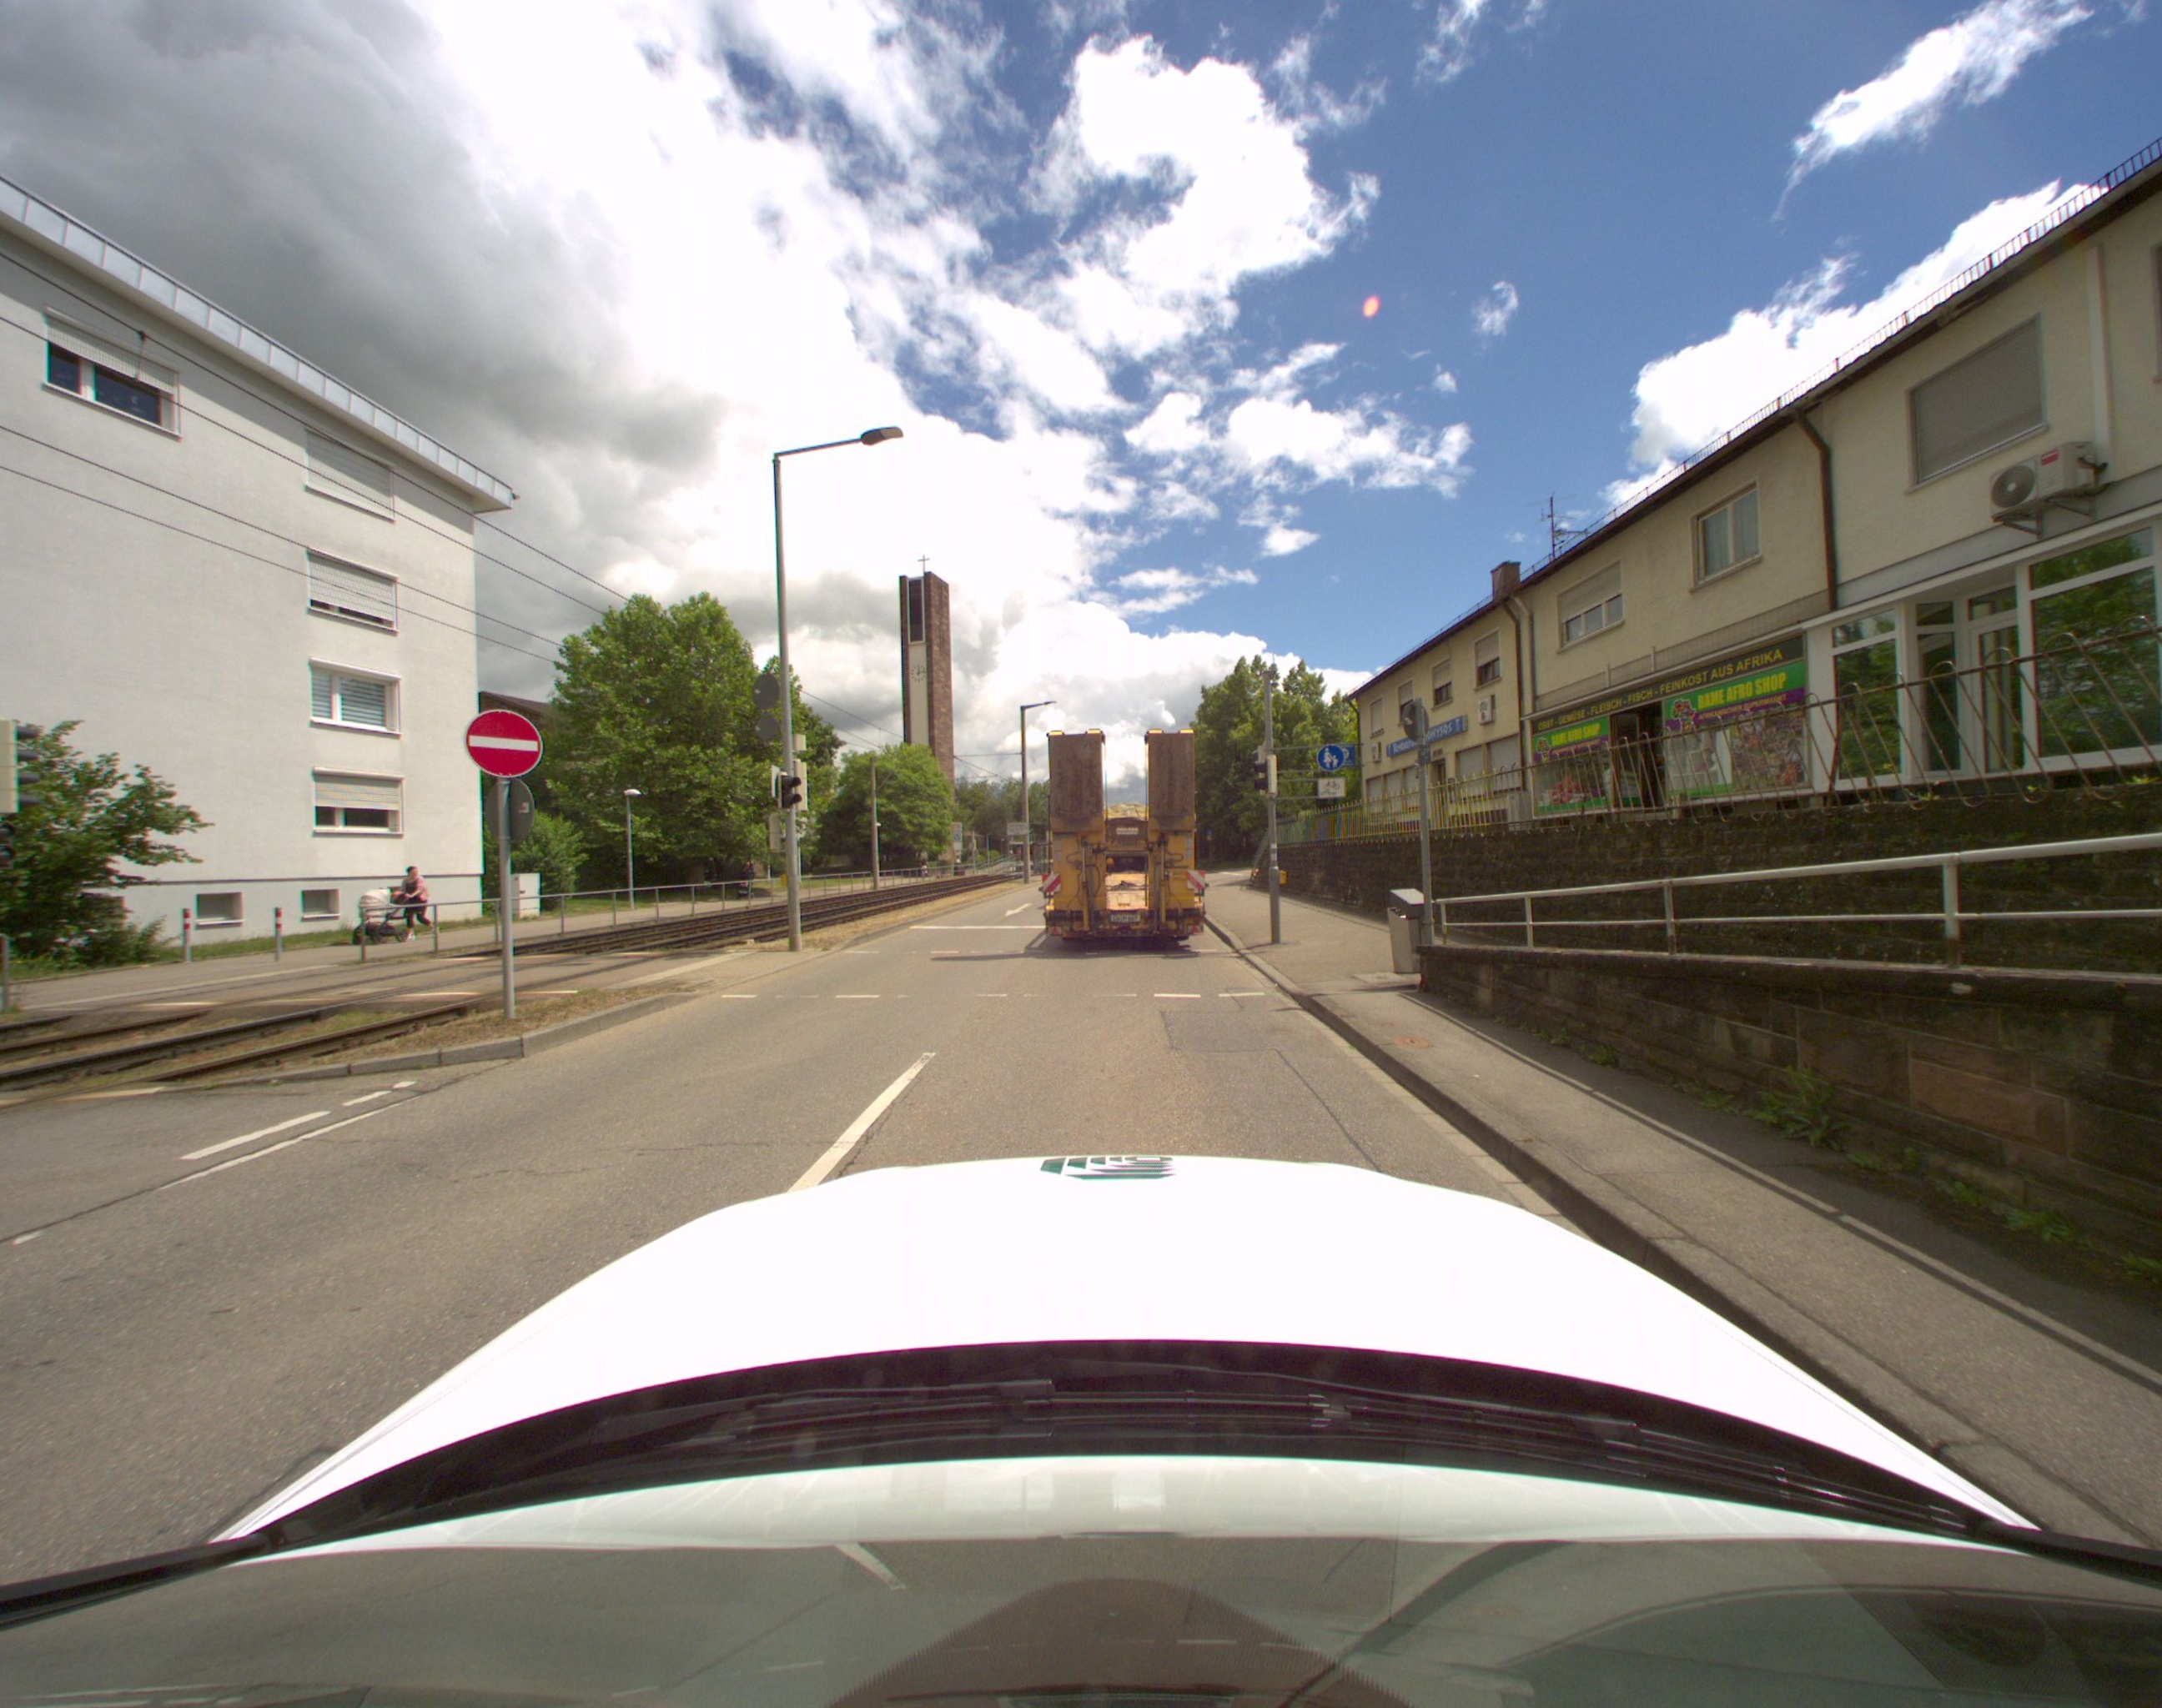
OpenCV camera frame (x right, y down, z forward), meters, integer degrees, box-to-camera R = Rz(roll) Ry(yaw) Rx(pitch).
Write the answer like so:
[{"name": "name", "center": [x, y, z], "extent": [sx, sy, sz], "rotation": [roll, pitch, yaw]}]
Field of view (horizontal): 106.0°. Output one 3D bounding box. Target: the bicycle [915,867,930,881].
[{"name": "bicycle", "center": [-11.646, 1.462, 59.988], "extent": [0.635, 0.994, 1.930], "rotation": [0, 0, 3]}]

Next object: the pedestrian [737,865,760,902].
[{"name": "pedestrian", "center": [-14.350, 1.274, 35.130], "extent": [0.610, 1.540, 0.874], "rotation": [-1, -1, 1]}]

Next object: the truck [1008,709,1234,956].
[{"name": "truck", "center": [0.739, -0.286, 19.456], "extent": [3.390, 3.732, 13.740], "rotation": [-2, 0, 1]}]

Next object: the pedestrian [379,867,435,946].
[{"name": "pedestrian", "center": [-14.771, 1.137, 17.869], "extent": [0.642, 1.692, 0.680], "rotation": [-1, -1, 3]}]

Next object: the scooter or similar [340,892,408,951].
[{"name": "scooter or similar", "center": [-14.810, 1.406, 17.081], "extent": [0.605, 1.163, 0.892], "rotation": [-1, -1, 3]}]

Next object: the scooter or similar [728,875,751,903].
[{"name": "scooter or similar", "center": [-14.370, 1.469, 34.263], "extent": [0.602, 1.115, 0.821], "rotation": [-1, -1, 1]}]

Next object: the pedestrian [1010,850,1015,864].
[{"name": "pedestrian", "center": [-9.042, 0.418, 107.347], "extent": [0.582, 1.778, 0.576], "rotation": [0, -1, 3]}]

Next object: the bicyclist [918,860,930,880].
[{"name": "bicyclist", "center": [-11.638, 1.196, 60.383], "extent": [0.630, 1.429, 0.791], "rotation": [0, -1, 3]}]

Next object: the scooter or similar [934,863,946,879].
[{"name": "scooter or similar", "center": [-11.290, 1.342, 65.330], "extent": [0.646, 1.237, 1.403], "rotation": [0, 0, 4]}]

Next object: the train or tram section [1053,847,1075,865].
[{"name": "train or tram section", "center": [-3.262, 0.449, 162.758], "extent": [3.095, 3.465, 18.841], "rotation": [0, 0, 3]}]

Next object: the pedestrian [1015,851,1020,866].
[{"name": "pedestrian", "center": [-8.781, 0.616, 112.420], "extent": [0.709, 2.014, 0.732], "rotation": [0, -1, 1]}]
